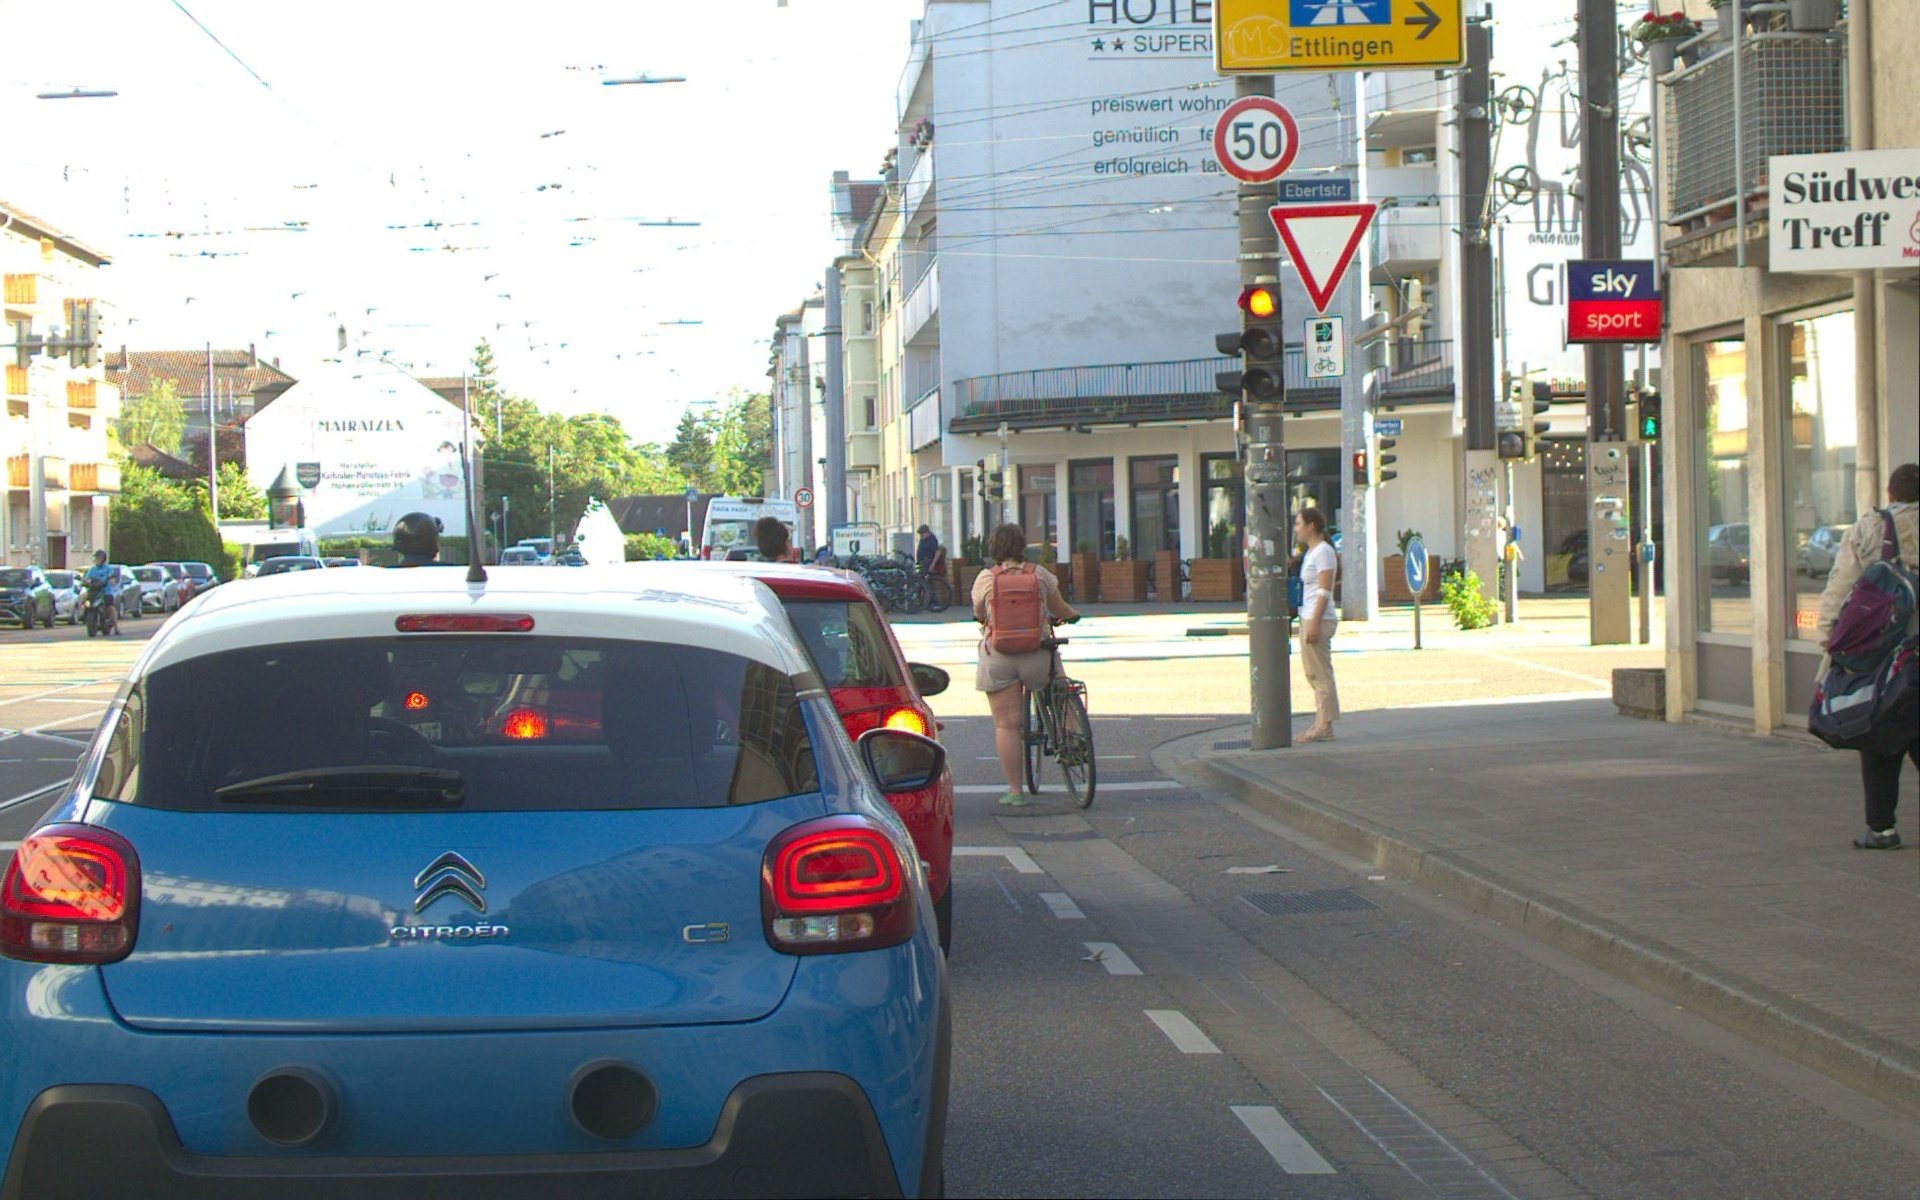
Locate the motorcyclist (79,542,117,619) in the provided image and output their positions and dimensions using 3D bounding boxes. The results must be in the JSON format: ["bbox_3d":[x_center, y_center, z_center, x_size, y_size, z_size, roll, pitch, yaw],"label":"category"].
[{"bbox_3d":[-16.835,-0.376,67.133,0.693,1.491,0.684,-1,-1,-14],"label":"motorcyclist"}]

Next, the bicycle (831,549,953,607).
[{"bbox_3d":[-1.305,-0.426,65.806,2.251,0.998,0.856,-3,1,-5],"label":"bicycle"}]

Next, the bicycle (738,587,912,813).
[{"bbox_3d":[-0.774,0.549,20.013,0.940,1.219,2.095,1,1,-2],"label":"bicycle"}]

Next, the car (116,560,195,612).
[{"bbox_3d":[-25.160,-0.464,107.611,1.869,1.571,4.001,1,1,-6],"label":"car"}]

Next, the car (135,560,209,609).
[{"bbox_3d":[-25.835,-0.525,112.766,1.869,1.571,4.001,1,1,-6],"label":"car"}]

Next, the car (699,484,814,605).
[{"bbox_3d":[-4.347,-1.163,72.818,2.265,2.473,5.009,0,1,-5],"label":"car"}]

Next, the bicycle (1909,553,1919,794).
[{"bbox_3d":[4.899,0.356,15.761,0.496,1.157,1.777,-1,0,-3],"label":"bicycle"}]

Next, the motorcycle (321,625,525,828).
[{"bbox_3d":[-3.004,0.686,19.409,0.855,1.043,1.942,1,1,-1],"label":"motorcycle"}]

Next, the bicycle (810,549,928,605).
[{"bbox_3d":[-1.822,-0.459,68.283,2.251,0.998,0.856,-3,1,-5],"label":"bicycle"}]

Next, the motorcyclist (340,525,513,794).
[{"bbox_3d":[-3.002,0.326,19.410,0.855,1.483,0.729,1,0,-1],"label":"motorcyclist"}]

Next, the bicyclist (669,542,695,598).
[{"bbox_3d":[-10.117,-1.109,125.137,0.791,2.018,0.986,1,0,1],"label":"bicyclist"}]

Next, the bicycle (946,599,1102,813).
[{"bbox_3d":[0.403,0.600,20.507,0.811,1.177,2.064,1,1,4],"label":"bicycle"}]

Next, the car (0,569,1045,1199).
[{"bbox_3d":[-0.778,0.670,7.201,1.736,1.447,3.662,0,1,4],"label":"car"}]

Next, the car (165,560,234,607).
[{"bbox_3d":[-26.306,-0.593,118.972,1.869,1.571,4.001,1,1,-6],"label":"car"}]

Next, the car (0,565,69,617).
[{"bbox_3d":[-23.693,-0.235,86.090,1.946,1.235,4.283,1,1,-5],"label":"car"}]

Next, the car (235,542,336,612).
[{"bbox_3d":[-14.971,-0.523,76.408,1.778,1.481,3.829,-2,1,-5],"label":"car"}]

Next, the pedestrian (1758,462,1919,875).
[{"bbox_3d":[3.842,0.244,13.897,0.884,1.586,0.811,-4,2,-8],"label":"pedestrian"}]

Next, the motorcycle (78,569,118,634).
[{"bbox_3d":[-16.790,0.031,66.981,0.711,1.216,1.966,-1,-1,-14],"label":"motorcycle"}]

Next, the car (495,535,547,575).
[{"bbox_3d":[-21.812,-2.250,171.066,2.218,1.925,4.950,1,1,-4],"label":"car"}]

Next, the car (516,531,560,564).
[{"bbox_3d":[-23.052,-2.848,187.828,2.074,1.756,5.037,1,1,-4],"label":"car"}]

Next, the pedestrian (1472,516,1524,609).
[{"bbox_3d":[9.370,-0.653,59.901,0.611,1.603,0.667,1,1,43],"label":"pedestrian"}]

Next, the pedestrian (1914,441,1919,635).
[{"bbox_3d":[5.807,-0.356,19.167,0.623,1.084,0.679,-3,2,-37],"label":"pedestrian"}]

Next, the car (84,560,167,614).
[{"bbox_3d":[-24.877,-0.410,102.625,1.869,1.571,4.001,1,1,-6],"label":"car"}]

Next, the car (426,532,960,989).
[{"bbox_3d":[-1.073,0.514,13.532,1.784,1.516,3.763,1,1,-5],"label":"car"}]

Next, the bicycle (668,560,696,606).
[{"bbox_3d":[-10.122,-0.618,125.226,0.791,1.664,2.230,1,0,1],"label":"bicycle"}]

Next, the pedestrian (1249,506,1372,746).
[{"bbox_3d":[2.462,0.175,24.113,0.540,1.618,0.732,-5,-1,21],"label":"pedestrian"}]

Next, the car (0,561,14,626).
[{"bbox_3d":[-23.186,-0.156,79.418,1.741,1.521,4.230,1,1,-4],"label":"car"}]

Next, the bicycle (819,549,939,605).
[{"bbox_3d":[-1.595,-0.453,67.173,2.251,0.998,0.856,-3,1,-5],"label":"bicycle"}]

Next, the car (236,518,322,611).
[{"bbox_3d":[-23.558,-1.242,118.986,2.417,3.131,3.489,1,0,-3],"label":"car"}]

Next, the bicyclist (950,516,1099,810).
[{"bbox_3d":[0.390,0.360,20.339,0.811,1.686,0.935,1,0,4],"label":"bicyclist"}]

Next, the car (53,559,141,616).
[{"bbox_3d":[-24.608,-0.361,98.132,1.869,1.571,4.001,1,1,-6],"label":"car"}]

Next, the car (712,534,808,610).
[{"bbox_3d":[-3.972,-0.562,67.841,1.657,1.426,3.889,1,1,-7],"label":"car"}]

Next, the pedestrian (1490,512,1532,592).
[{"bbox_3d":[9.996,-0.868,62.352,0.607,1.439,0.554,1,0,27],"label":"pedestrian"}]

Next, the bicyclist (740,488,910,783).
[{"bbox_3d":[-0.783,0.199,20.086,0.940,1.667,1.079,1,0,-2],"label":"bicyclist"}]

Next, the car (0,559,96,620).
[{"bbox_3d":[-24.396,-0.297,92.071,1.869,1.571,4.001,1,1,-6],"label":"car"}]
